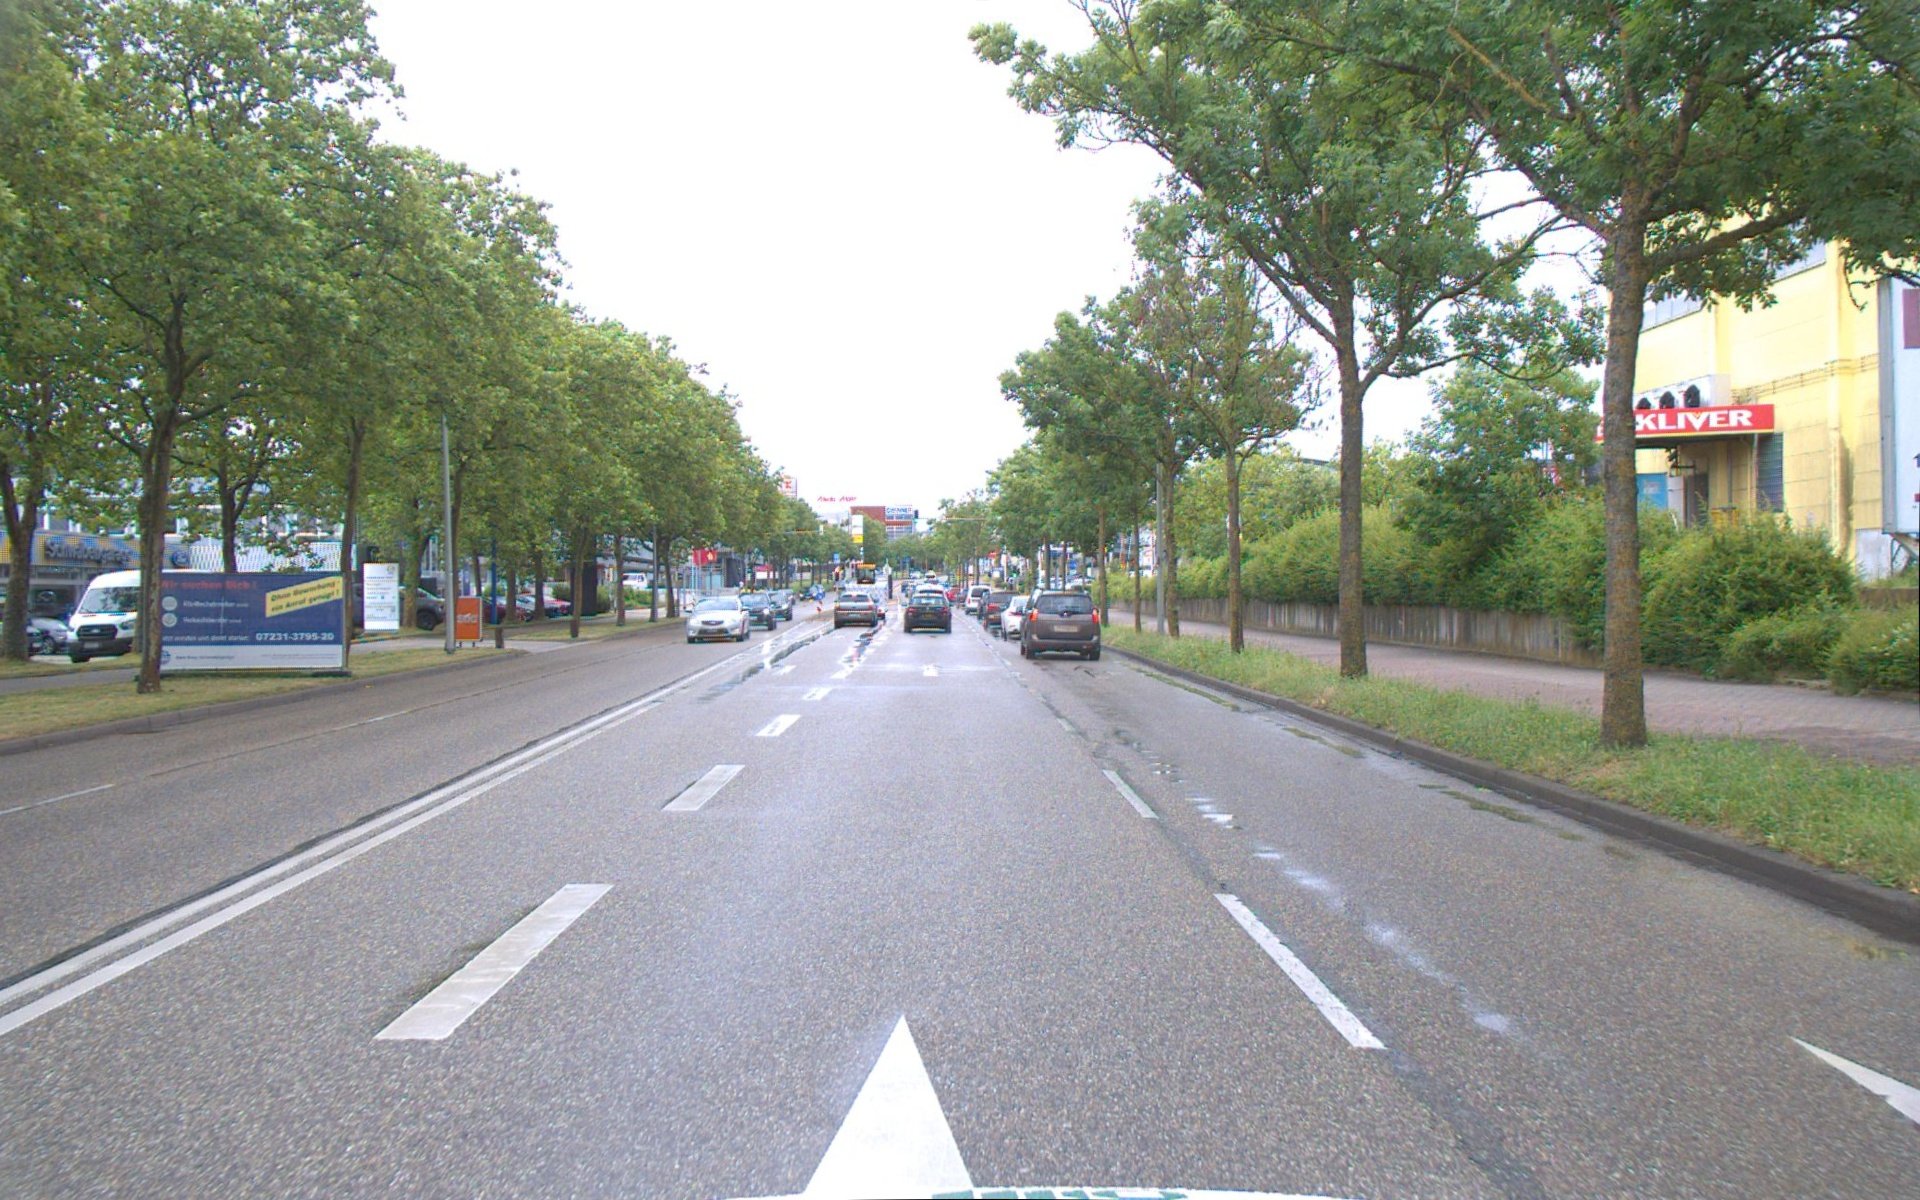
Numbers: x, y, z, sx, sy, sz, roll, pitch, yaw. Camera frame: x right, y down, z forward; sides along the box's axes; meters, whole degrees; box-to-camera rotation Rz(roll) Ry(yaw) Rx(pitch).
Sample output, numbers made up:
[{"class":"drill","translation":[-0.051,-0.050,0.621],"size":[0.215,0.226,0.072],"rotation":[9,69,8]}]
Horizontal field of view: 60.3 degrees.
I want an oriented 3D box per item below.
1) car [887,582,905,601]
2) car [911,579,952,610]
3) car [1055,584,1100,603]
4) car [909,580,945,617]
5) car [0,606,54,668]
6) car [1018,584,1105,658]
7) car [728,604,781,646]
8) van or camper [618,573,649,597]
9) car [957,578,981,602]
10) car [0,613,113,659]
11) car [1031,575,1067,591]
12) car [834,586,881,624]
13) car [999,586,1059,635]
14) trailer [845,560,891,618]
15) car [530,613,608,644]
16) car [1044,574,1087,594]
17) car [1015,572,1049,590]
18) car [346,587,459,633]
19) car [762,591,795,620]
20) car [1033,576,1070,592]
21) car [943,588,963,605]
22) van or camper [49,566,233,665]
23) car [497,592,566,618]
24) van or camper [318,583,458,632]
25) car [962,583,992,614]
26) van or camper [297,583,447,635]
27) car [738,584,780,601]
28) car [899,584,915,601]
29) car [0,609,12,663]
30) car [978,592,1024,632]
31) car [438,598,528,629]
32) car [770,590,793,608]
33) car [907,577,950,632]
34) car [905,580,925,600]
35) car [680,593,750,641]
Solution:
[{"class":"car","translation":[-7.345,-0.989,189.688],"size":[1.953,2.049,3.999],"rotation":[1,0,-1]},{"class":"car","translation":[-1.383,-0.293,79.078],"size":[1.649,1.401,3.996],"rotation":[-1,1,-5]},{"class":"car","translation":[10.651,-0.584,149.681],"size":[1.896,1.604,4.266],"rotation":[-1,1,39]},{"class":"car","translation":[-1.903,-0.058,94.366],"size":[1.953,2.049,3.999],"rotation":[1,0,-2]},{"class":"car","translation":[-29.775,1.113,50.021],"size":[3.902,1.797,1.866],"rotation":[-1,0,15]},{"class":"car","translation":[2.393,0.473,39.863],"size":[1.691,1.652,4.469],"rotation":[-1,0,-1]},{"class":"car","translation":[-8.544,1.015,68.923],"size":[1.727,1.558,3.857],"rotation":[-3,0,-1]},{"class":"van or camper","translation":[-28.741,-1.333,145.746],"size":[1.953,2.001,4.786],"rotation":[1,0,-2]},{"class":"car","translation":[0.624,-0.717,119.937],"size":[1.650,1.713,3.402],"rotation":[1,0,-1]},{"class":"car","translation":[-31.543,1.252,57.185],"size":[3.811,1.493,1.601],"rotation":[-1,0,11]},{"class":"car","translation":[9.411,-1.812,175.186],"size":[3.568,1.562,1.770],"rotation":[-3,1,-41]},{"class":"car","translation":[-4.531,0.194,73.897],"size":[1.868,1.606,4.879],"rotation":[-1,0,-1]},{"class":"car","translation":[2.341,0.338,57.033],"size":[1.764,1.571,4.619],"rotation":[1,0,-1]},{"class":"trailer","translation":[-4.940,-0.598,89.030],"size":[2.325,2.947,5.543],"rotation":[-1,0,-3]},{"class":"car","translation":[-23.207,1.682,98.132],"size":[4.165,1.623,1.984],"rotation":[-3,1,-25]},{"class":"car","translation":[10.312,-1.566,161.765],"size":[3.993,1.691,1.953],"rotation":[-4,2,-41]},{"class":"car","translation":[8.554,-2.277,196.961],"size":[4.027,1.938,1.799],"rotation":[-1,1,0]},{"class":"car","translation":[-23.909,0.426,70.918],"size":[4.396,1.847,1.985],"rotation":[-1,0,-25]},{"class":"car","translation":[-9.744,0.285,88.704],"size":[1.635,1.487,4.174],"rotation":[-2,0,-7]},{"class":"car","translation":[9.284,-1.612,167.480],"size":[3.568,1.562,1.619],"rotation":[-2,1,-42]},{"class":"car","translation":[-0.615,-0.318,143.425],"size":[1.661,1.468,3.988],"rotation":[-1,0,-1]},{"class":"van or camper","translation":[-22.302,0.369,45.390],"size":[1.953,2.513,6.400],"rotation":[0,0,-1]},{"class":"car","translation":[-26.872,0.328,103.742],"size":[3.903,1.515,1.877],"rotation":[-1,1,-6]},{"class":"van or camper","translation":[-23.586,0.312,68.223],"size":[5.289,1.801,2.088],"rotation":[-1,-3,-25]},{"class":"car","translation":[1.078,-0.098,104.020],"size":[1.745,1.899,3.999],"rotation":[-1,0,-1]},{"class":"van or camper","translation":[-22.703,0.335,63.905],"size":[5.220,1.853,2.246],"rotation":[-1,0,-27]},{"class":"car","translation":[-20.414,-0.778,167.619],"size":[3.916,1.579,1.895],"rotation":[-1,1,33]},{"class":"car","translation":[-6.508,-0.907,203.191],"size":[1.953,2.049,3.999],"rotation":[1,0,-1]},{"class":"car","translation":[-29.594,1.082,47.453],"size":[3.902,1.547,1.867],"rotation":[-1,0,13]},{"class":"car","translation":[1.733,0.499,71.173],"size":[1.764,1.614,4.450],"rotation":[1,1,-1]},{"class":"car","translation":[-25.901,0.719,89.747],"size":[4.494,1.624,1.985],"rotation":[0,0,-24]},{"class":"car","translation":[-15.688,-0.122,145.443],"size":[1.676,1.490,4.083],"rotation":[-2,0,-3]},{"class":"car","translation":[-1.212,0.155,64.255],"size":[1.561,2.049,4.344],"rotation":[-1,0,-1]},{"class":"car","translation":[-4.726,-1.033,173.751],"size":[1.953,2.049,3.999],"rotation":[1,0,-1]},{"class":"car","translation":[-8.019,0.534,54.502],"size":[1.955,1.454,4.680],"rotation":[-2,0,-5]}]
